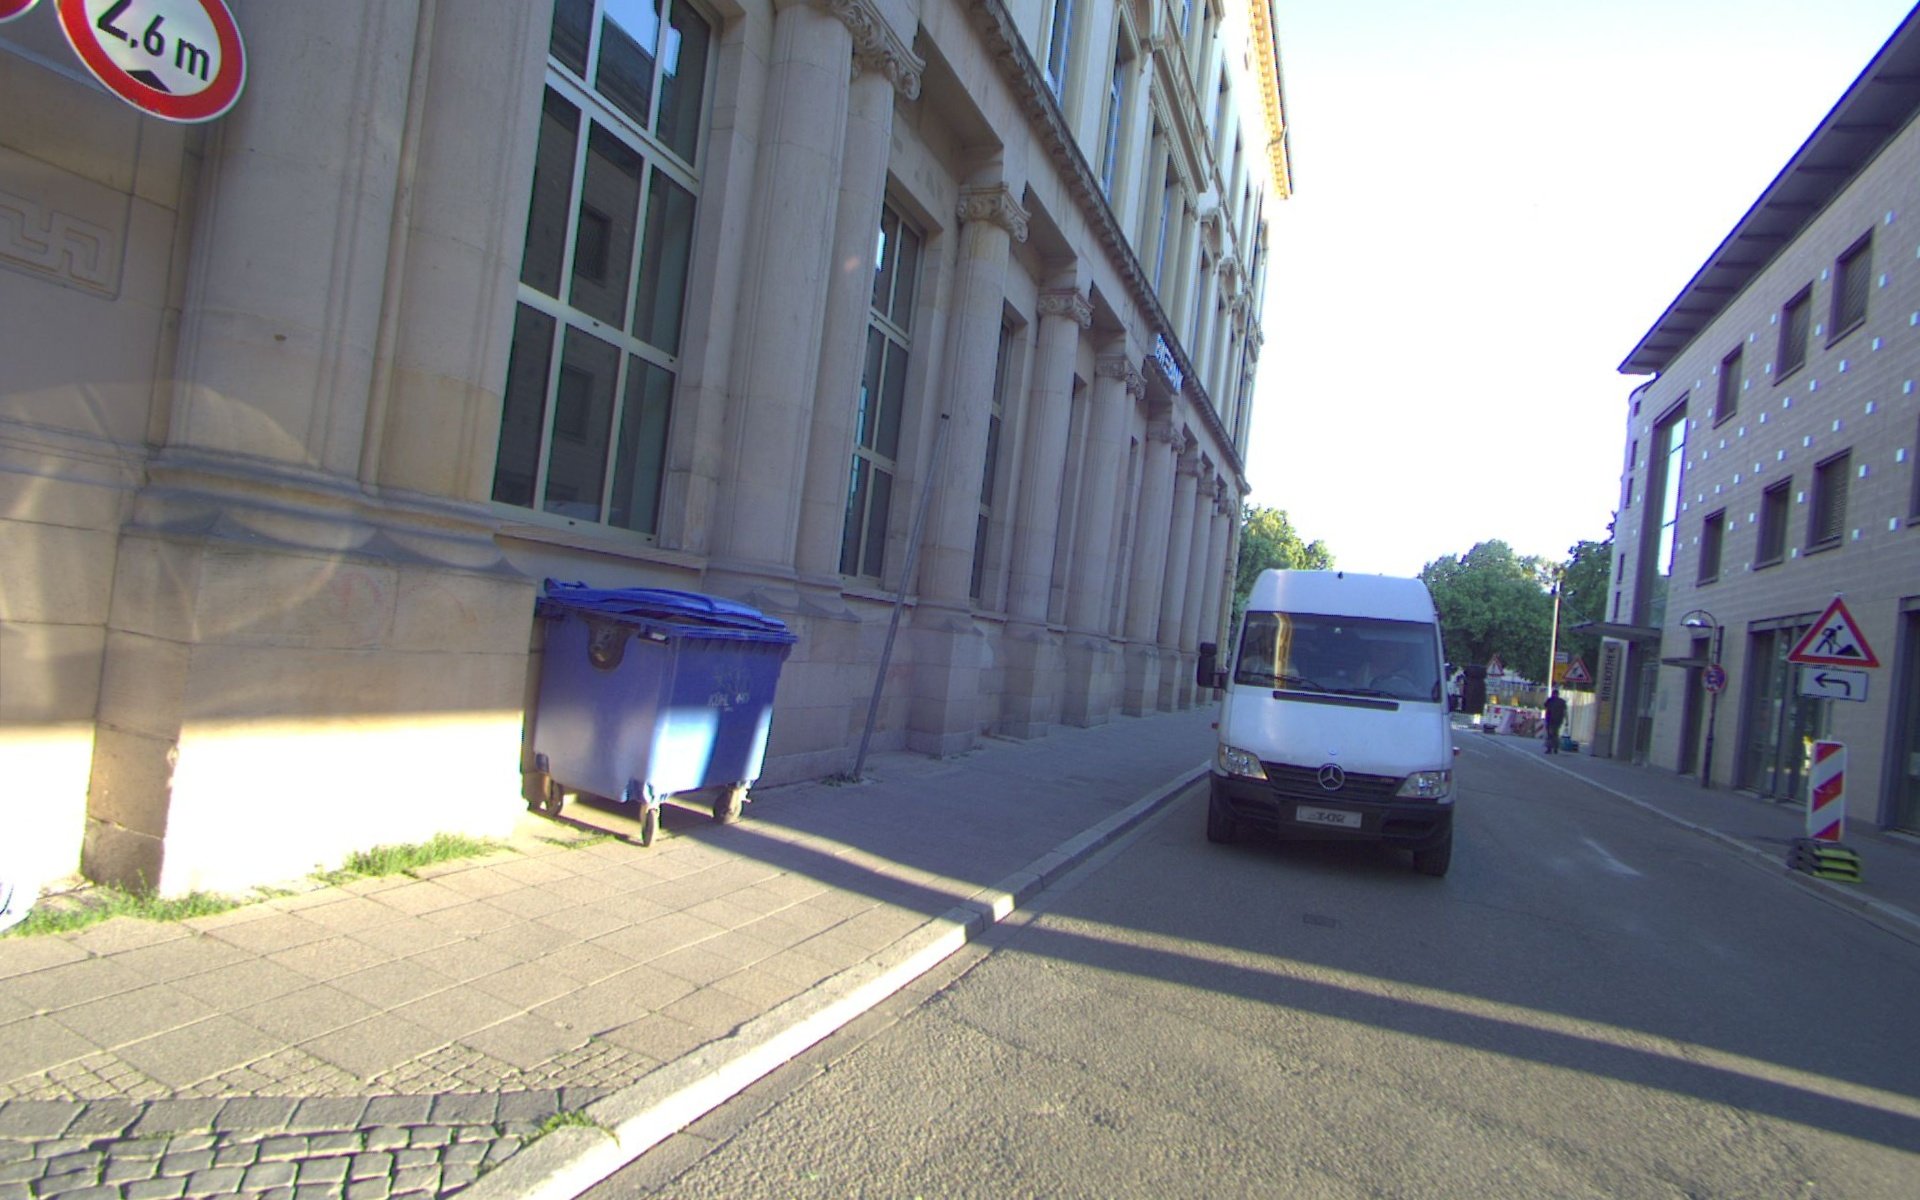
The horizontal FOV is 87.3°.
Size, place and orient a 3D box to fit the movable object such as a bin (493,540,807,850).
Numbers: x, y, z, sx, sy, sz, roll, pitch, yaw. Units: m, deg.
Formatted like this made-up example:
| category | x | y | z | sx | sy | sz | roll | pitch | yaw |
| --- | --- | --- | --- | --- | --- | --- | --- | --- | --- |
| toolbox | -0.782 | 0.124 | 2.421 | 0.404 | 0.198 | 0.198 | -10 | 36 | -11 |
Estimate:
| category | x | y | z | sx | sy | sz | roll | pitch | yaw |
| --- | --- | --- | --- | --- | --- | --- | --- | --- | --- |
| movable object such as a bin | -1.782 | 0.527 | 5.934 | 1.058 | 1.492 | 1.187 | 9 | 0 | 25 |

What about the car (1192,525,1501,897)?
| category | x | y | z | sx | sy | sz | roll | pitch | yaw |
| --- | --- | --- | --- | --- | --- | --- | --- | --- | --- |
| car | 3.766 | 0.964 | 10.441 | 1.965 | 2.541 | 6.474 | 4 | -2 | 18 |

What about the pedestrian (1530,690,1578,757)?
| category | x | y | z | sx | sy | sz | roll | pitch | yaw |
| --- | --- | --- | --- | --- | --- | --- | --- | --- | --- |
| pedestrian | 16.774 | 3.466 | 28.418 | 0.909 | 1.722 | 0.868 | 6 | -1 | 24 |
